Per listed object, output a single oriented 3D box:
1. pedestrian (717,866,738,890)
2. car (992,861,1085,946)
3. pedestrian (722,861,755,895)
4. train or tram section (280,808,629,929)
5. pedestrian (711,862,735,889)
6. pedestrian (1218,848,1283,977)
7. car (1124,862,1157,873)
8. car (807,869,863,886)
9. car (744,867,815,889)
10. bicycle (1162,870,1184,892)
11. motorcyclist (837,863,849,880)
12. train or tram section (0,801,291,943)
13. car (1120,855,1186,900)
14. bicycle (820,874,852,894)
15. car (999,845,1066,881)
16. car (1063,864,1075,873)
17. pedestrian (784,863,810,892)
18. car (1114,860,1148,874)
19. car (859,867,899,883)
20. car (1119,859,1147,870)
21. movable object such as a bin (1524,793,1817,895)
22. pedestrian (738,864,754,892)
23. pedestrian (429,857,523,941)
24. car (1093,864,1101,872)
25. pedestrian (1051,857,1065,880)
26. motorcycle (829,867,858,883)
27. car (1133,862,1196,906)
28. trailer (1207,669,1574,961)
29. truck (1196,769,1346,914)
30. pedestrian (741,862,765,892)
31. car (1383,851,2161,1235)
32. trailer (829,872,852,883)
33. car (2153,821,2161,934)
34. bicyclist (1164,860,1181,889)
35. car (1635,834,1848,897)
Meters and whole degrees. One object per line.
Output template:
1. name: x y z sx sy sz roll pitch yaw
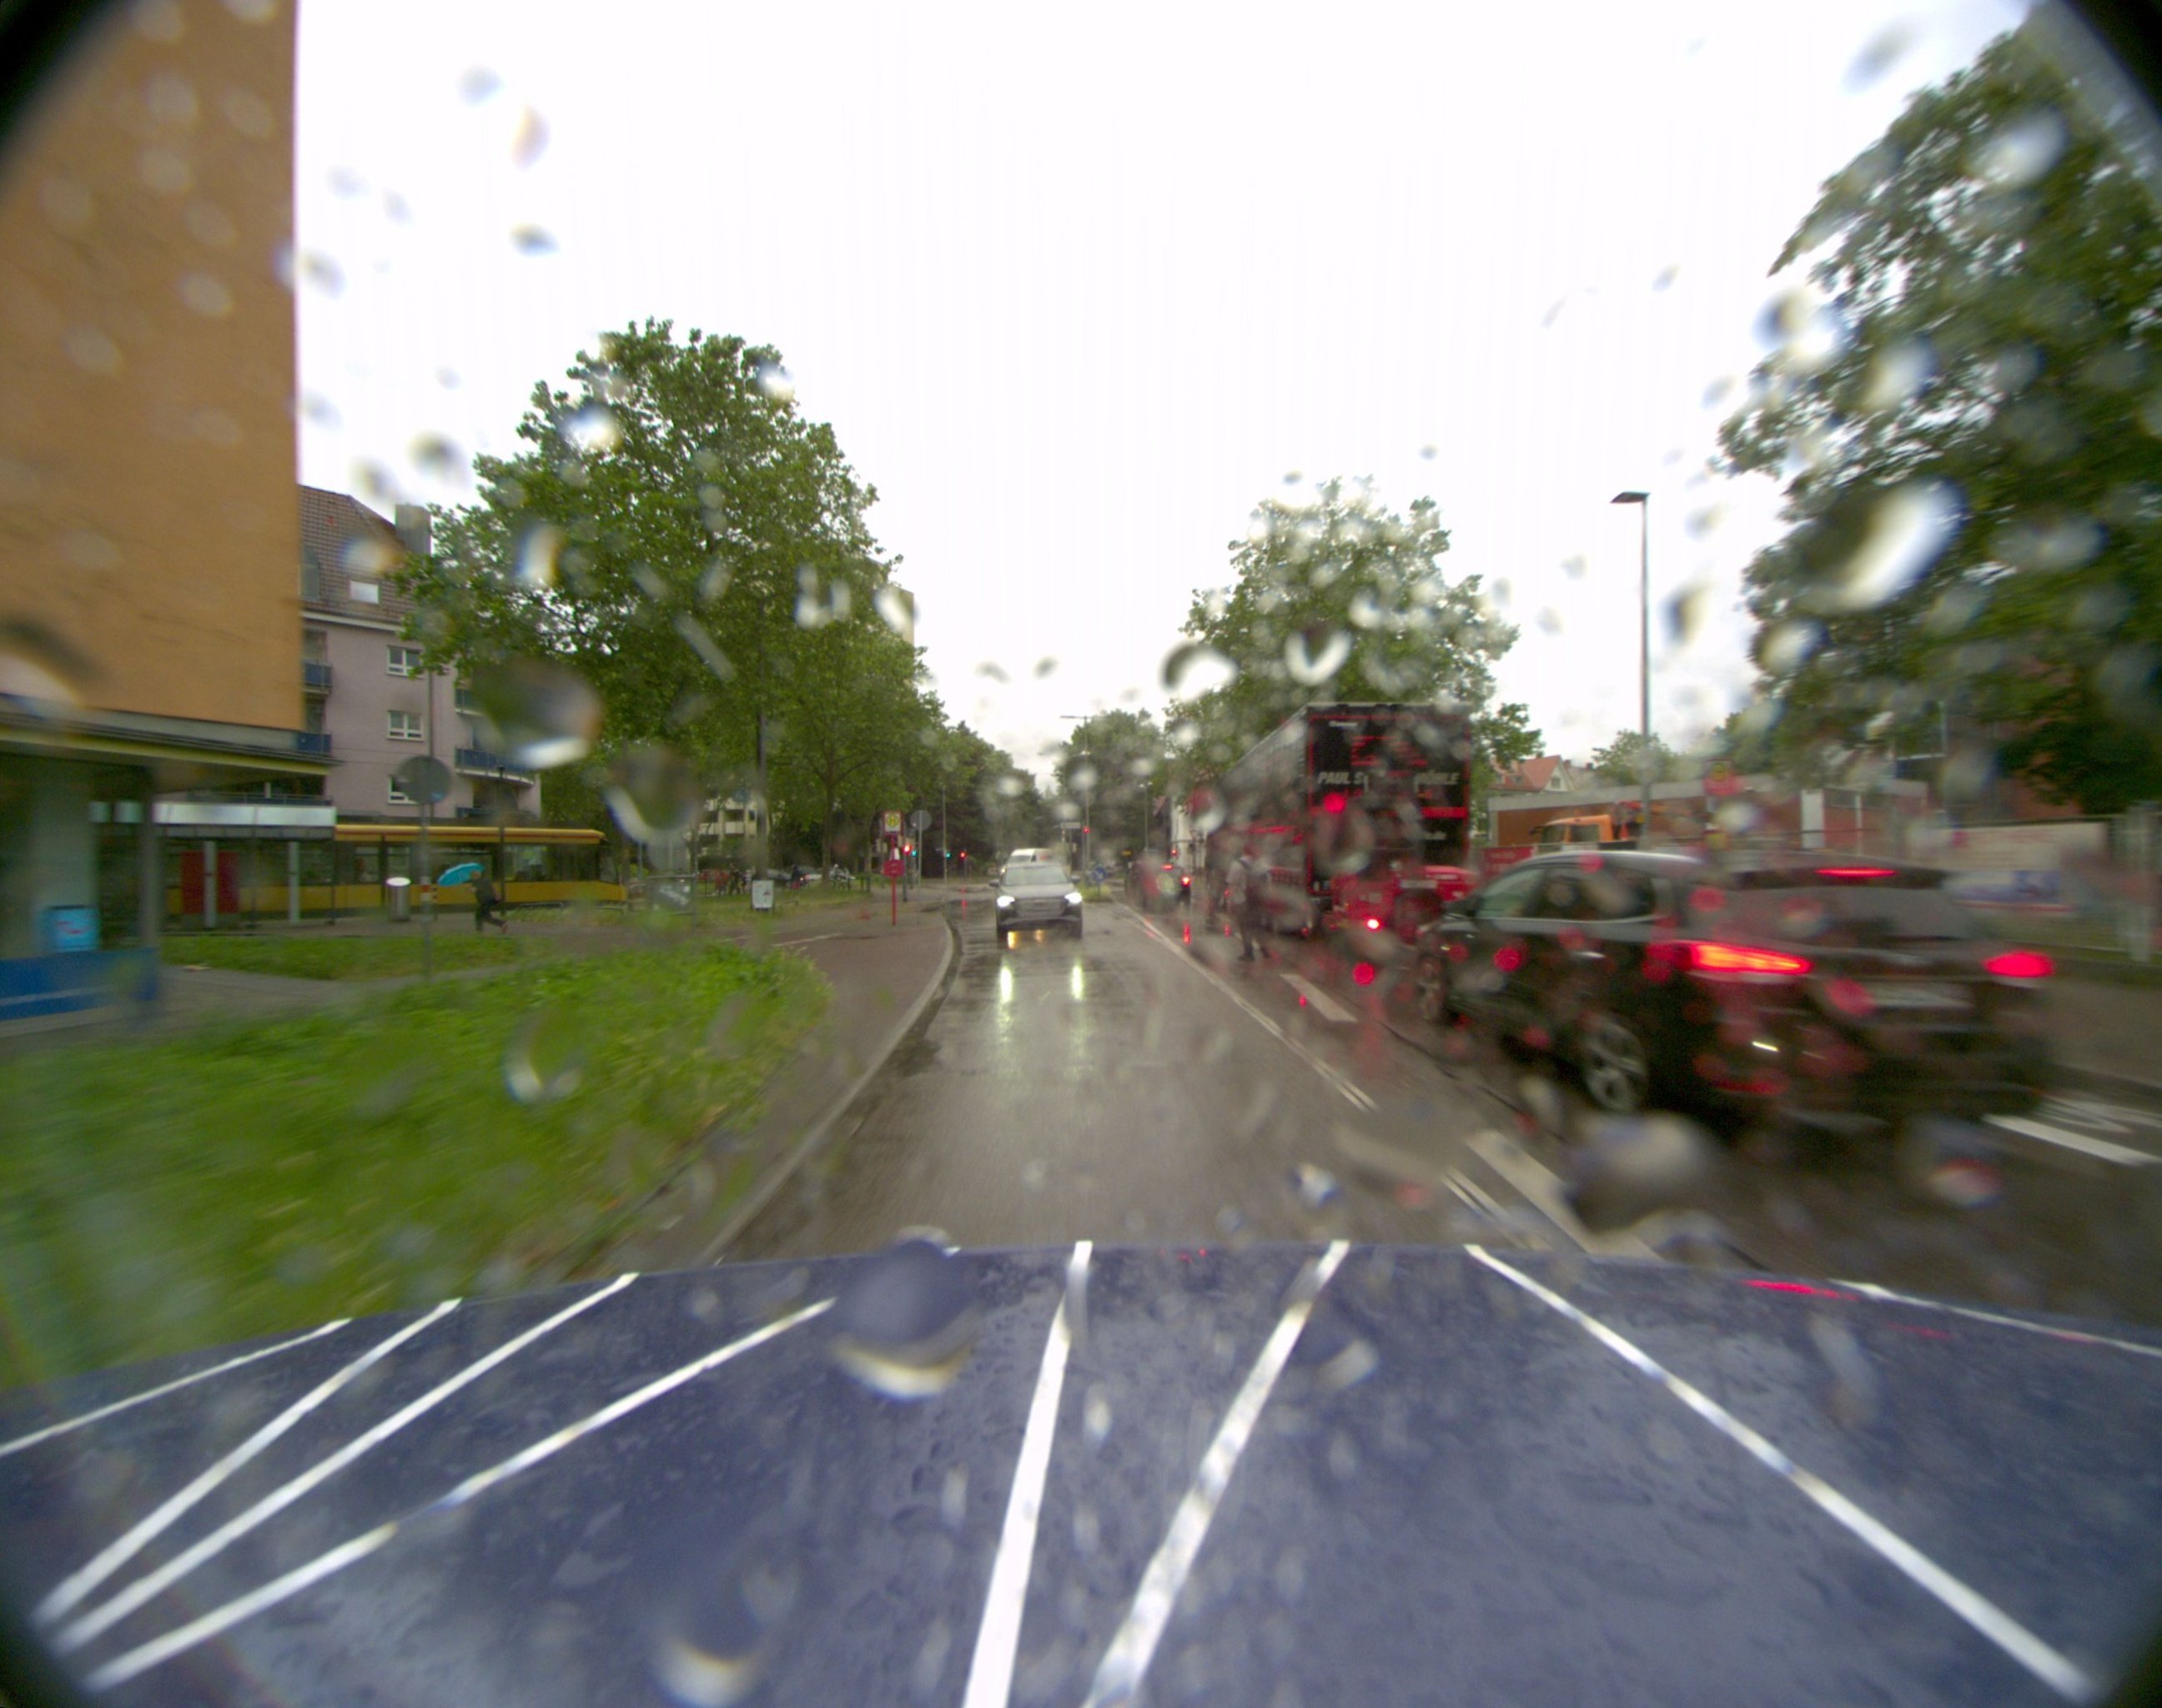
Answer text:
1. pedestrian: -20.308 1.371 43.643 1.011 1.373 0.672 0 -1 -18
2. car: -1.087 1.038 17.518 1.810 1.611 4.135 -3 -1 -7
3. pedestrian: -18.452 1.295 40.934 1.235 1.778 1.038 -1 0 3
4. train or tram section: -19.817 0.415 24.735 8.393 3.349 2.639 -1 -1 -42
5. pedestrian: -20.214 1.222 42.871 1.067 1.516 0.876 0 -1 -38
6. pedestrian: 2.564 0.842 11.410 0.869 1.832 0.993 -1 0 17
7. car: 7.453 1.714 96.125 3.997 1.346 1.797 -2 -1 0
8. car: -20.355 1.963 63.012 4.171 1.267 1.902 -1 -1 -8
9. car: -20.902 1.668 52.889 4.176 1.452 1.994 -1 -1 -6
10. bicycle: 4.587 1.341 37.961 0.533 1.018 1.873 0 -1 -10
11. motorcyclist: -18.910 1.372 60.438 0.754 1.343 0.758 -1 0 -3
12. train or tram section: -26.017 0.457 19.063 8.393 3.331 2.639 -1 -1 -43
13. car: 3.007 1.028 32.715 2.079 1.672 4.930 -3 -2 -3
14. bicycle: -13.409 1.648 41.654 1.620 1.070 0.445 -1 0 -22
15. car: -3.560 0.659 57.514 2.279 2.547 6.523 -1 -1 24
16. car: -2.256 2.767 143.848 1.998 1.530 4.002 -1 -1 3
17. pedestrian: -16.713 1.358 44.779 1.054 1.676 0.997 0 -1 15
18. car: 6.989 1.800 105.368 4.667 1.862 2.034 0 -1 4
19. car: -20.104 2.062 75.628 3.458 1.516 1.842 -1 -1 -1
20. car: 9.781 2.023 142.968 5.084 2.011 2.034 0 -1 4
21. movable object such as a bin: 18.369 -0.231 24.206 6.766 2.913 2.778 -1 -1 14
22. pedestrian: -19.185 1.366 43.539 0.763 1.538 0.691 0 -1 -31
23. pedestrian: -14.018 1.001 17.656 1.386 1.854 1.172 -1 0 -20
24. car: 3.853 3.388 184.651 1.998 1.795 4.351 -1 -1 0
25. pedestrian: -1.608 0.975 52.515 0.864 1.572 0.642 0 -1 -13
26. motorcycle: -18.874 1.679 60.436 2.073 1.207 0.881 -1 -1 -3
27. car: 2.774 0.996 26.032 1.702 1.365 4.100 -1 -1 0
28. trailer: 5.523 -0.412 18.096 3.450 4.024 15.056 -1 -1 4
29. truck: 5.926 -0.292 25.087 3.458 4.054 6.977 -1 -1 3
30. pedestrian: -19.189 1.332 44.454 0.993 1.770 0.812 0 -1 4
31. car: 4.016 0.830 5.758 1.871 1.610 4.803 -1 1 4
32. trailer: -18.821 1.857 59.438 1.482 0.837 1.027 -1 -1 -2
33. car: 18.812 0.343 10.743 2.003 1.779 3.991 0 -1 -28
34. bicyclist: 4.588 1.019 38.003 0.581 1.452 1.010 0 0 -10
35. car: 18.318 0.361 21.300 3.993 1.591 2.002 -1 -2 11
